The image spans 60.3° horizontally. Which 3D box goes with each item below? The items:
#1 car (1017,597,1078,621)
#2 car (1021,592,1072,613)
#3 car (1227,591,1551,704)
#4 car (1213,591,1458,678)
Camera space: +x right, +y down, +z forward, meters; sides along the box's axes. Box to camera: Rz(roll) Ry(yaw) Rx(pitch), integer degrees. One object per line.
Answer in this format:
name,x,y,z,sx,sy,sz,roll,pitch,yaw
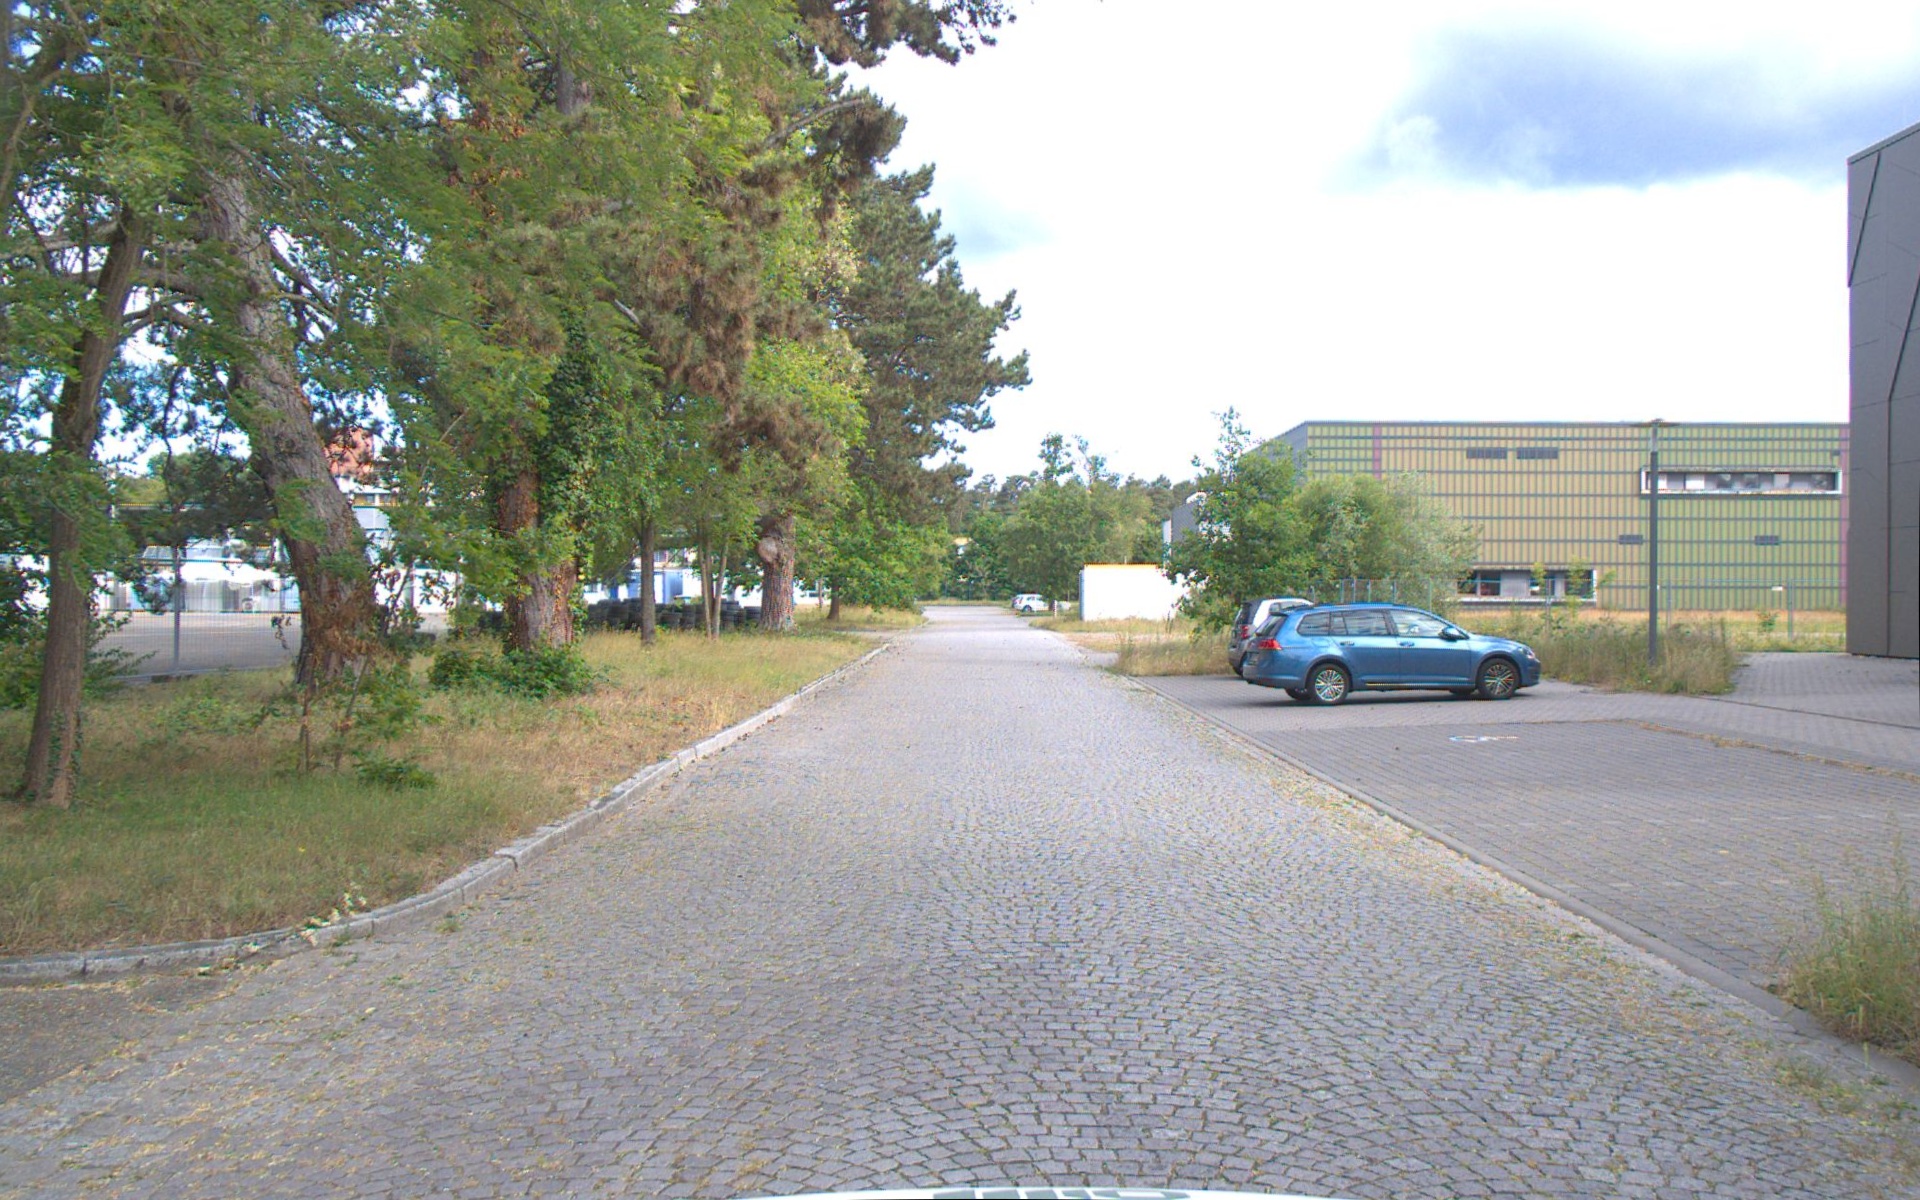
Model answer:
car,6.288,0.631,119.153,4.266,1.717,1.925,0,0,-1
car,7.306,0.204,140.147,4.264,1.811,1.926,0,0,1
car,6.546,0.691,25.556,4.428,1.558,1.999,-1,0,-3
car,7.409,0.662,32.939,4.424,1.558,2.000,-1,0,1
